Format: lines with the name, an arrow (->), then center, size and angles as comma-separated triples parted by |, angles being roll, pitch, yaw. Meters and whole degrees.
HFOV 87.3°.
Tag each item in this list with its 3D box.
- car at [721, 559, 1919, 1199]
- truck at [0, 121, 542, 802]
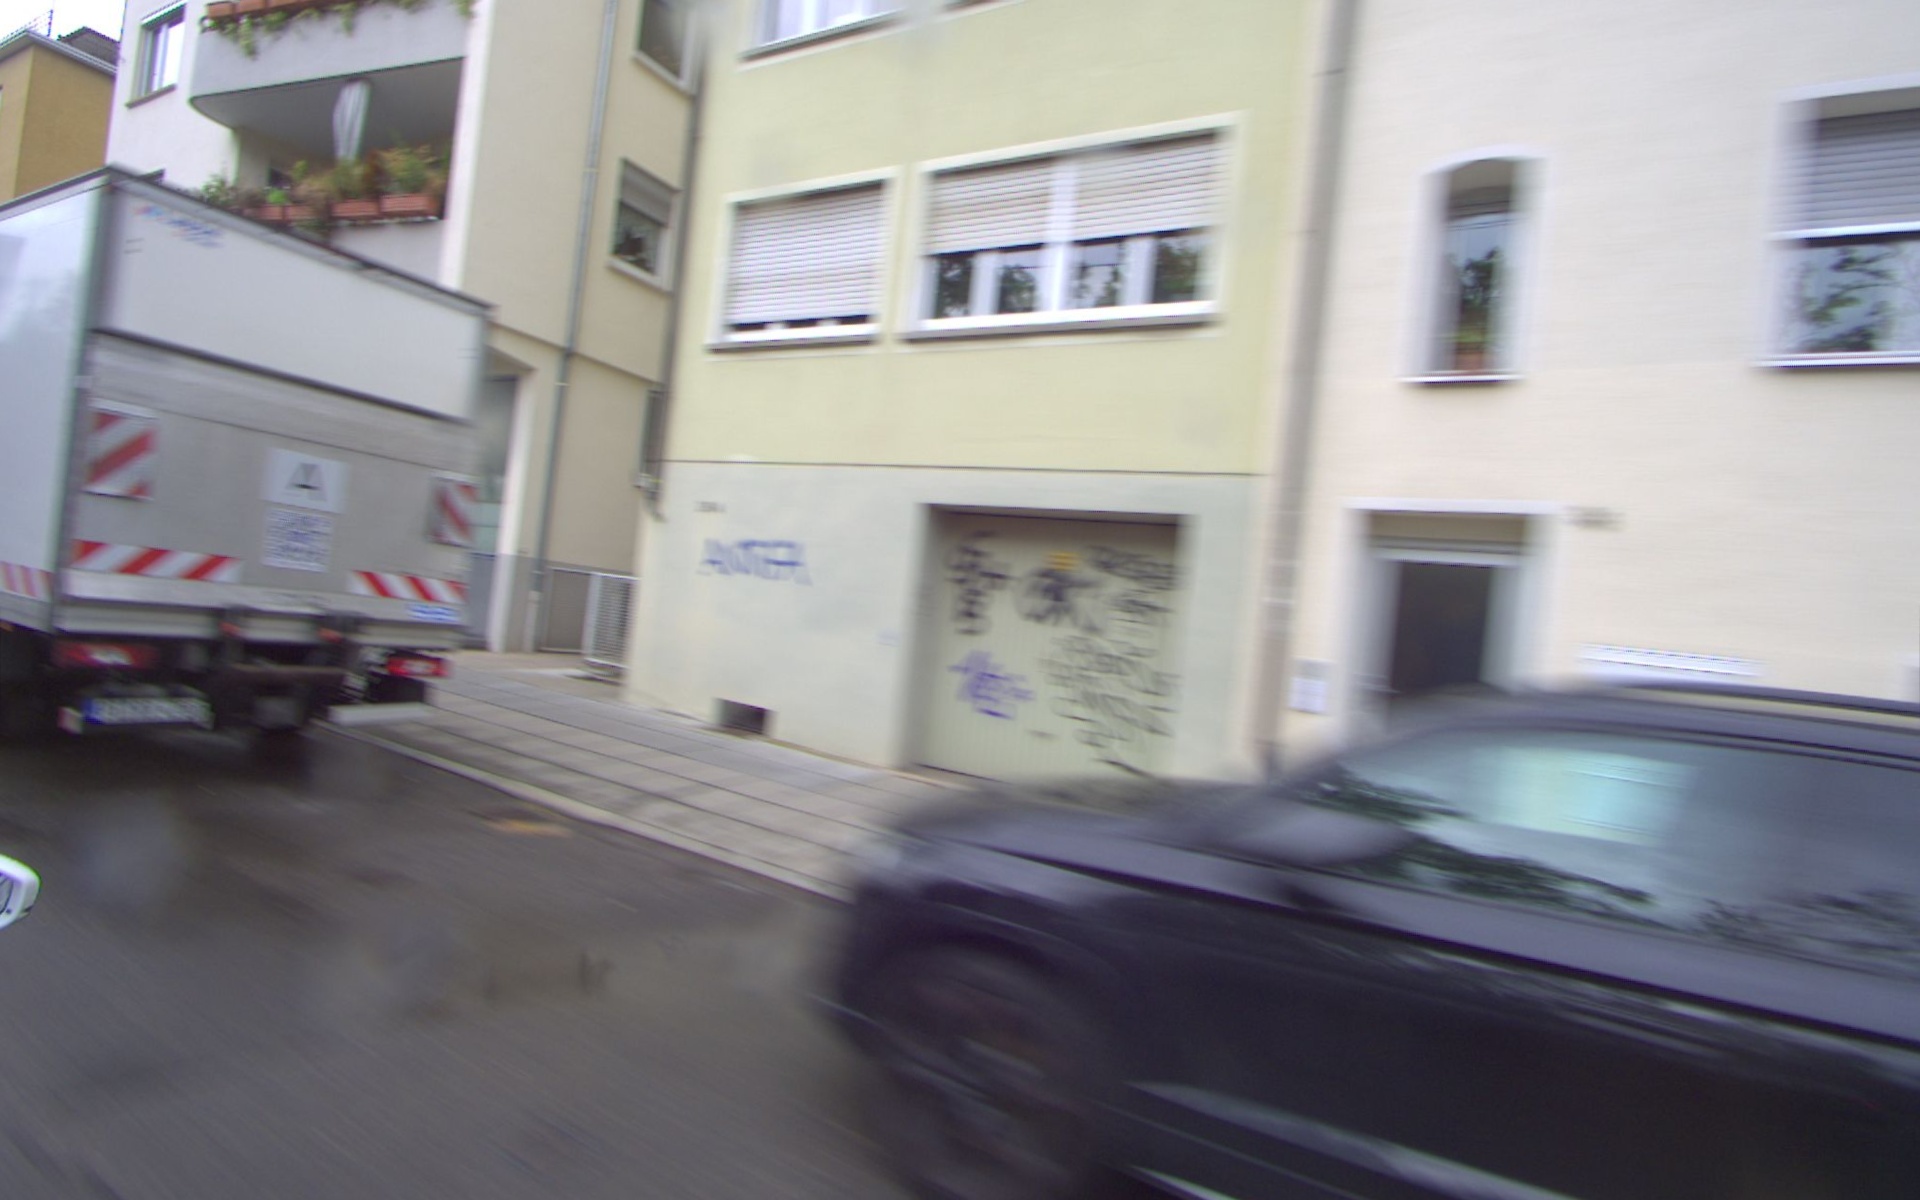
car -> 1.517, 0.952, 2.676 | 4.029, 1.592, 1.666 | 7, -1, 31
truck -> -6.587, -0.870, 7.581 | 6.919, 3.210, 2.474 | 7, -1, 31
